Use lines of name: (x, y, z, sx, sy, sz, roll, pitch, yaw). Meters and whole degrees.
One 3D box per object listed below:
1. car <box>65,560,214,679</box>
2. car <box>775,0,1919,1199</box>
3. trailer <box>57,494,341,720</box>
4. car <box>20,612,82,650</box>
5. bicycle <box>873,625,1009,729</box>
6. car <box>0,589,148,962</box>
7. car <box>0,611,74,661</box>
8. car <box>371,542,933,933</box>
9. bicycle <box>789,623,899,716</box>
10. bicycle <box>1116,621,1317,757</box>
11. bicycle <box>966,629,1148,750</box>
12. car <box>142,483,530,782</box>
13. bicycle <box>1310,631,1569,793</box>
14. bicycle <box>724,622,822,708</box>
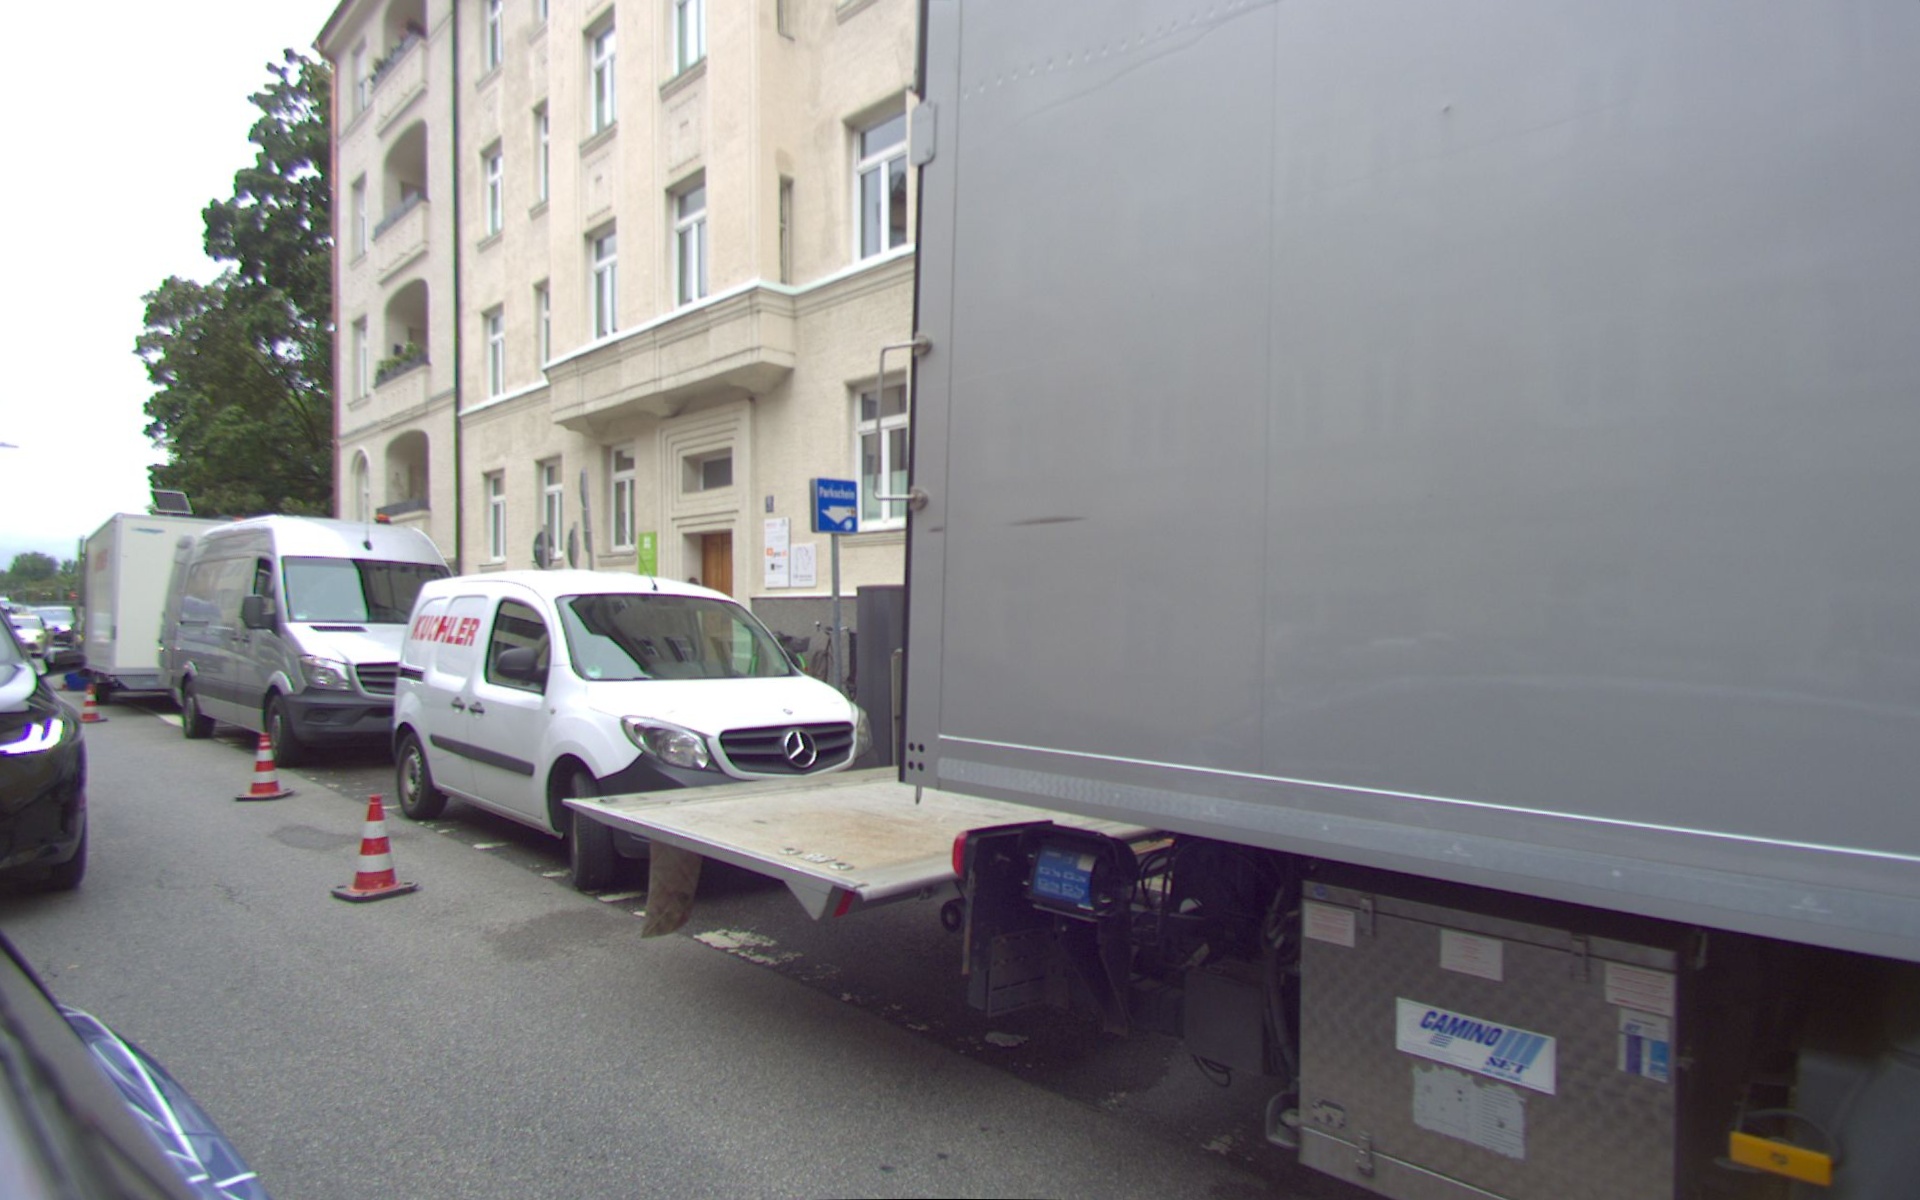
car: (-20.530, 0.468, 25.185, 6.797, 2.592, 2.117, -1, -1, 44)
car: (3.583, -0.523, 0.905, 8.724, 3.846, 2.782, -1, -1, 43)
trailer: (-13.105, 0.260, 17.119, 2.771, 2.992, 7.604, 4, -5, -44)
car: (-39.009, 1.314, 43.496, 1.791, 1.474, 4.170, 6, -4, -41)
bicycle: (-0.261, 0.874, 11.999, 1.864, 1.112, 0.396, 0, 0, 43)
car: (-5.980, 0.735, 5.344, 4.292, 1.577, 1.896, 0, -1, 41)
car: (-33.178, 1.287, 36.438, 1.791, 1.601, 4.169, 6, -4, -41)
car: (-2.310, 0.679, 6.798, 4.328, 1.792, 1.743, -1, -3, 45)
bicycle: (-1.536, 0.876, 13.196, 1.736, 1.112, 0.423, 0, 0, 44)
bicycle: (2.335, 0.771, 9.375, 1.766, 1.112, 0.501, 0, 2, 43)
bicycle: (0.949, 0.866, 10.235, 1.859, 1.112, 0.397, 0, 0, 34)
car: (-7.664, 0.395, 11.949, 6.877, 2.607, 2.033, -1, -5, 43)
bicycle: (3.767, 0.825, 8.056, 1.766, 1.112, 0.601, 0, 0, 43)
bicycle: (-2.658, 0.884, 14.247, 1.743, 1.112, 0.423, 0, 0, 44)
